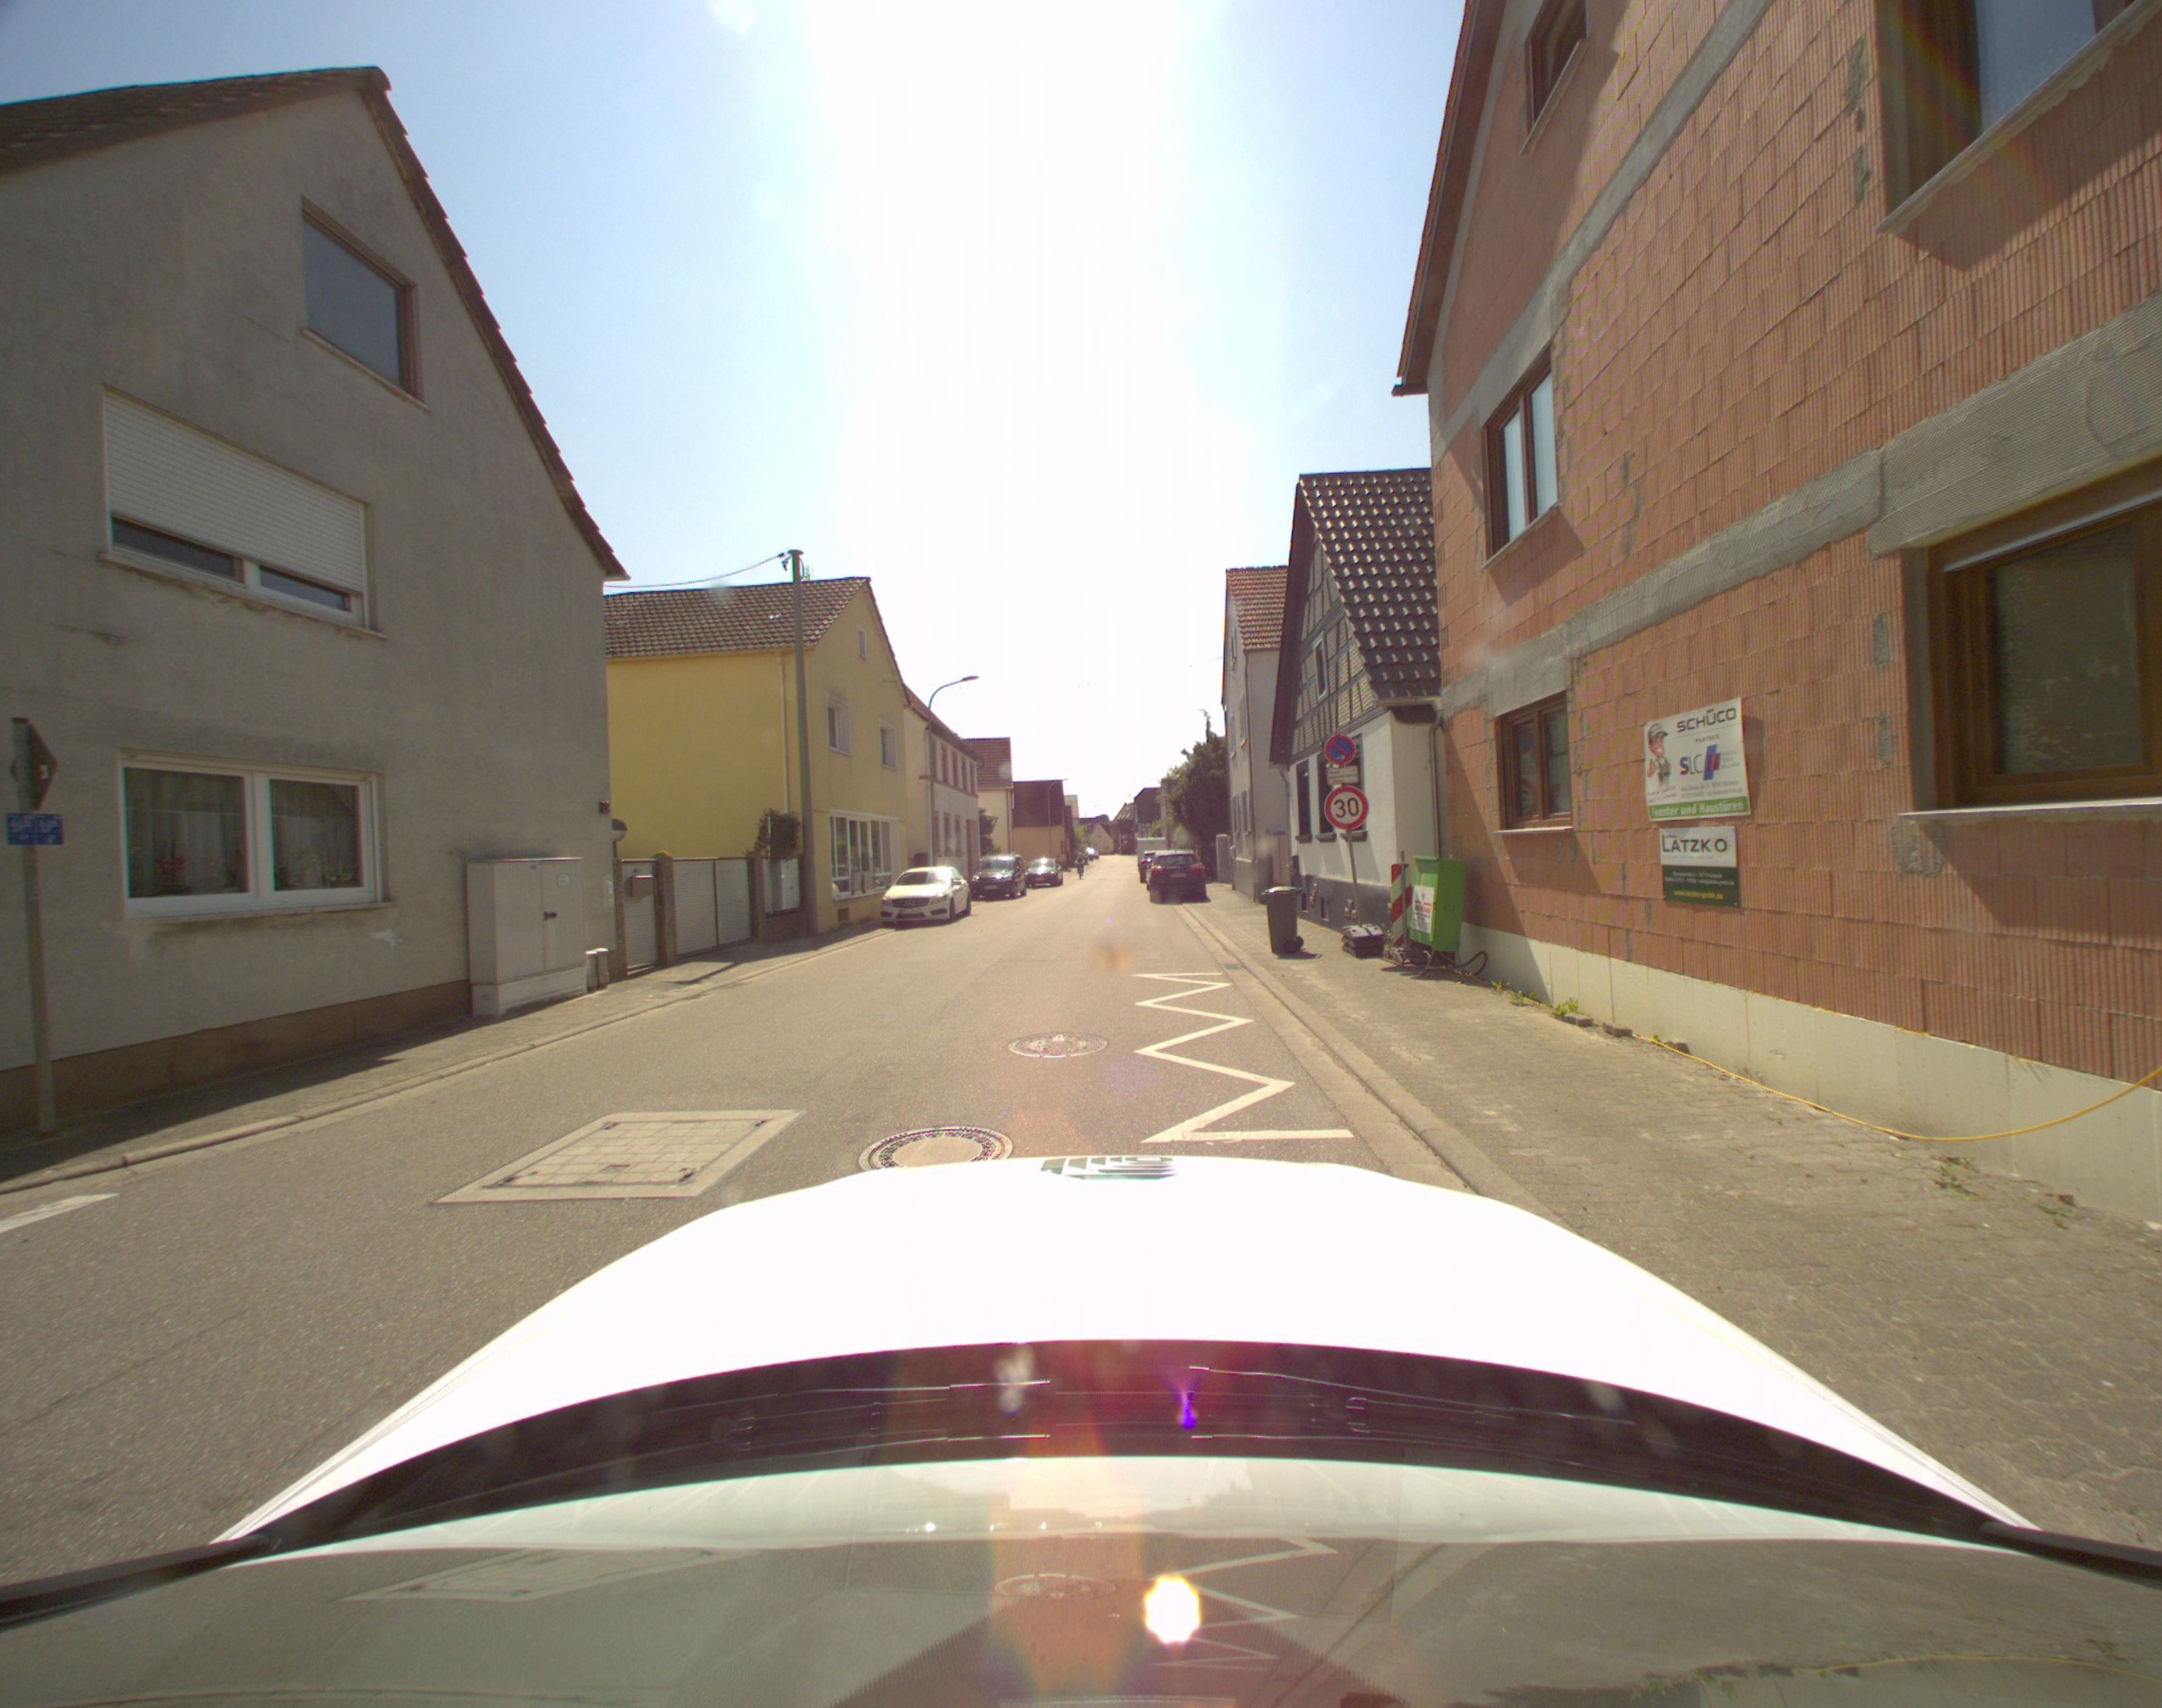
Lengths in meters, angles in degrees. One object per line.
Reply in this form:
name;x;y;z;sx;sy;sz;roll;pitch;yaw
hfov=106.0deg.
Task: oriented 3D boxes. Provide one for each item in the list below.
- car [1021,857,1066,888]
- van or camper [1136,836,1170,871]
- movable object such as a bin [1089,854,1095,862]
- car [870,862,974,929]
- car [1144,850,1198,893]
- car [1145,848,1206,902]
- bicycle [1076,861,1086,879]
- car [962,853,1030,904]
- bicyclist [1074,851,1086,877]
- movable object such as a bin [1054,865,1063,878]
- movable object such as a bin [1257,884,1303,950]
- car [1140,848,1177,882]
car;-2.003;0.991;45.183;1.836;1.526;4.771;-3;0;5
van or camper;5.922;-0.043;67.527;2.511;2.696;4.559;-3;0;3
movable object such as a bin;1.605;0.567;118.766;0.685;1.185;0.715;-4;0;3
car;-4.142;1.038;21.892;1.828;1.464;4.271;-4;0;1
car;3.513;0.641;32.513;1.812;1.508;4.585;-3;0;3
car;3.059;0.644;27.149;1.789;1.560;4.637;-3;0;4
bicycle;-0.009;1.099;55.380;0.587;1.148;1.948;-4;0;1
car;-3.367;0.927;33.081;1.826;1.837;4.359;-4;0;5
bicyclist;-0.073;0.676;55.470;0.701;1.771;0.625;-3;0;0
movable object such as a bin;-1.668;1.280;60.239;0.537;0.949;0.554;-2;0;3
movable object such as a bin;2.928;0.919;11.964;0.533;0.913;0.554;-3;0;21
car;4.183;0.556;43.478;1.784;1.631;4.370;-3;0;7
